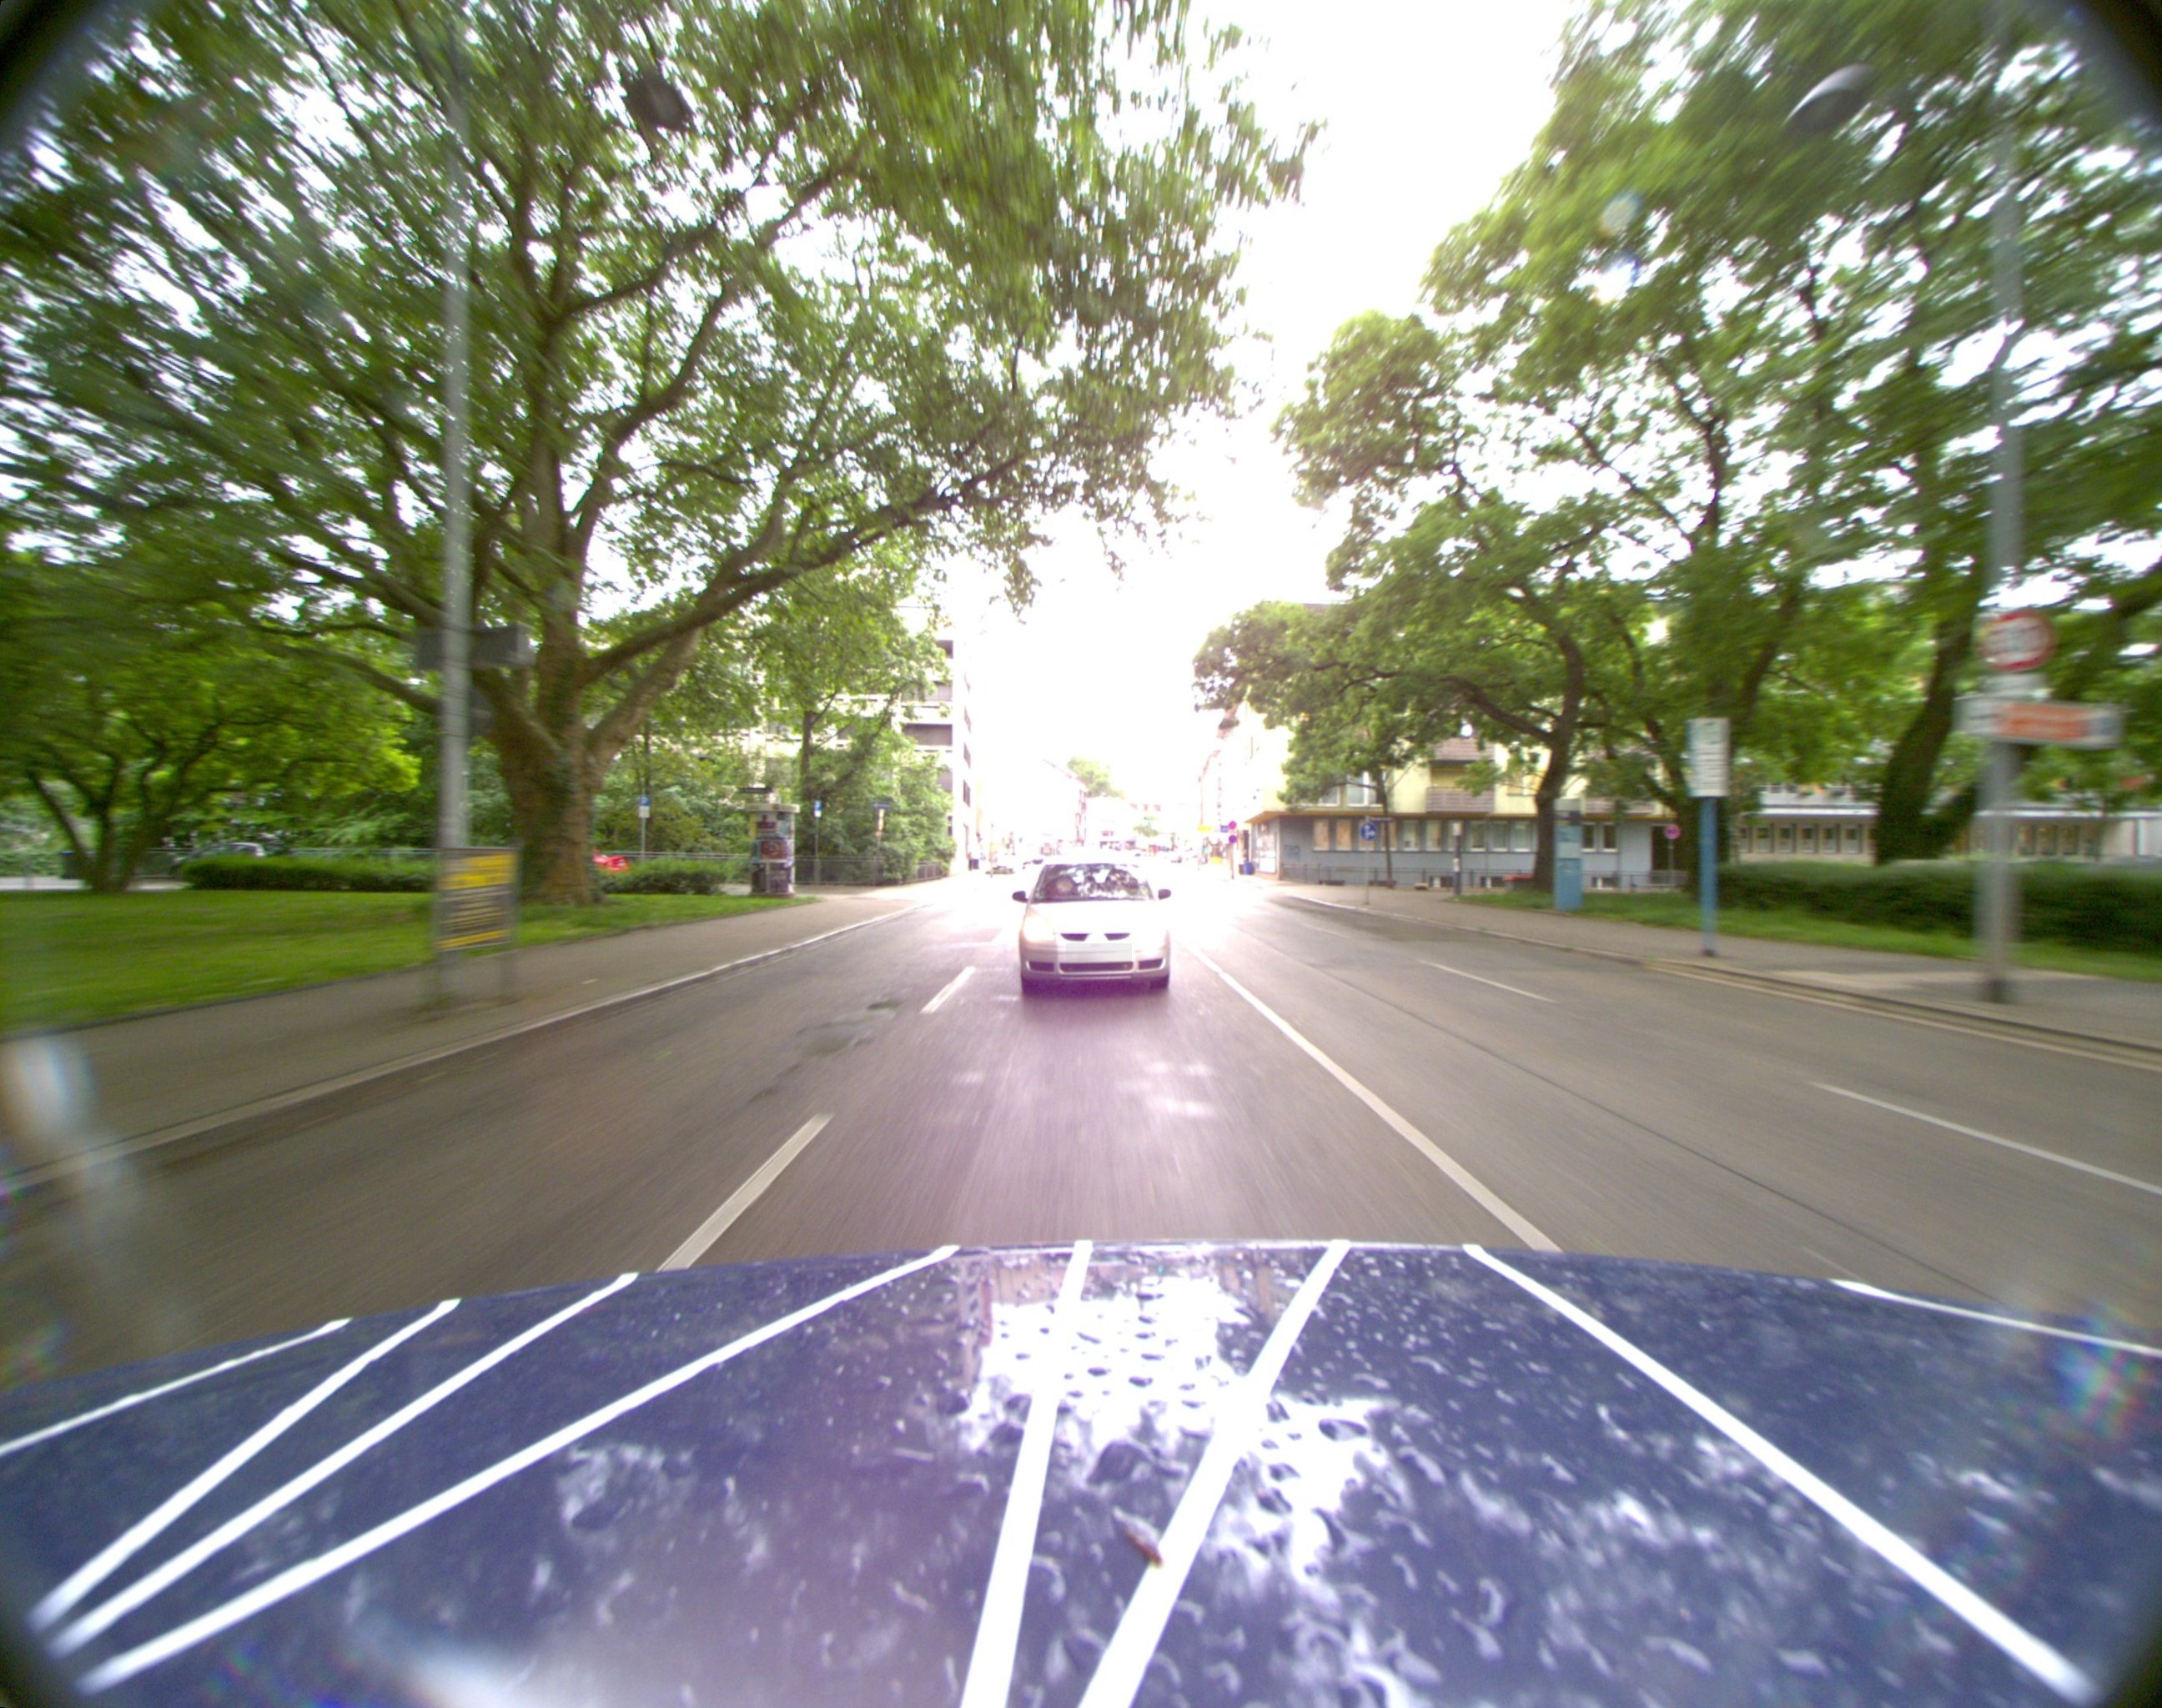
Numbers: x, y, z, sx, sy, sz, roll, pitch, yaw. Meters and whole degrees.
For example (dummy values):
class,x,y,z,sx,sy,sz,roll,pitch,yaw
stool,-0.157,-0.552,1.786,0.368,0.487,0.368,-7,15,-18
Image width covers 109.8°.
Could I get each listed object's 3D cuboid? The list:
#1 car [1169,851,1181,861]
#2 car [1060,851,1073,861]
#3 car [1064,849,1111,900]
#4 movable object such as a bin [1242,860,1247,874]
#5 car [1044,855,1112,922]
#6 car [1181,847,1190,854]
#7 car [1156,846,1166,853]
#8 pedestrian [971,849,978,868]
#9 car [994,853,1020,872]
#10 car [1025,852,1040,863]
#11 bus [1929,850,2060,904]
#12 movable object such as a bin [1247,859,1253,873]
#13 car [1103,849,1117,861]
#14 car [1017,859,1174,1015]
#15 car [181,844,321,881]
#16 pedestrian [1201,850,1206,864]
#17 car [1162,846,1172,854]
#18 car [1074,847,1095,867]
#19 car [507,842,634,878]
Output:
class,x,y,z,sx,sy,sz,roll,pitch,yaw
car,15.956,0.367,129.090,1.889,1.707,4.001,1,0,4
car,-2.121,0.248,113.218,1.802,1.433,3.896,1,0,0
car,0.207,0.701,28.101,1.584,1.705,3.648,1,0,-1
movable object such as a bin,12.164,0.937,56.551,0.338,1.023,0.353,1,1,7
car,-0.015,0.832,20.051,1.590,1.540,3.771,1,0,2
car,23.973,-0.808,174.572,1.867,1.648,4.001,1,0,4
car,17.953,-1.026,170.430,1.998,1.631,4.001,1,0,4
pedestrian,-8.752,0.378,62.356,0.480,1.521,0.481,-2,1,0
car,-5.954,0.677,61.478,1.681,1.424,3.681,4,0,0
car,-6.910,0.460,108.504,1.802,1.433,3.896,1,0,-1
bus,33.471,0.831,27.871,3.731,1.913,1.711,1,1,-17
movable object such as a bin,12.515,0.906,56.292,0.415,1.023,0.353,1,1,7
car,3.668,0.107,97.035,1.701,1.433,3.896,1,0,0
car,0.152,0.862,9.377,1.576,1.514,3.240,-1,1,0
car,-31.097,0.307,28.545,3.468,1.271,1.448,1,1,-5
pedestrian,16.670,0.369,103.188,0.594,1.833,0.565,1,1,7
car,19.809,-0.987,175.621,1.998,1.841,4.001,1,0,4
car,0.308,0.284,72.816,1.935,1.817,3.999,1,1,-1
car,-19.624,0.221,29.321,3.790,1.271,1.576,1,1,-4
